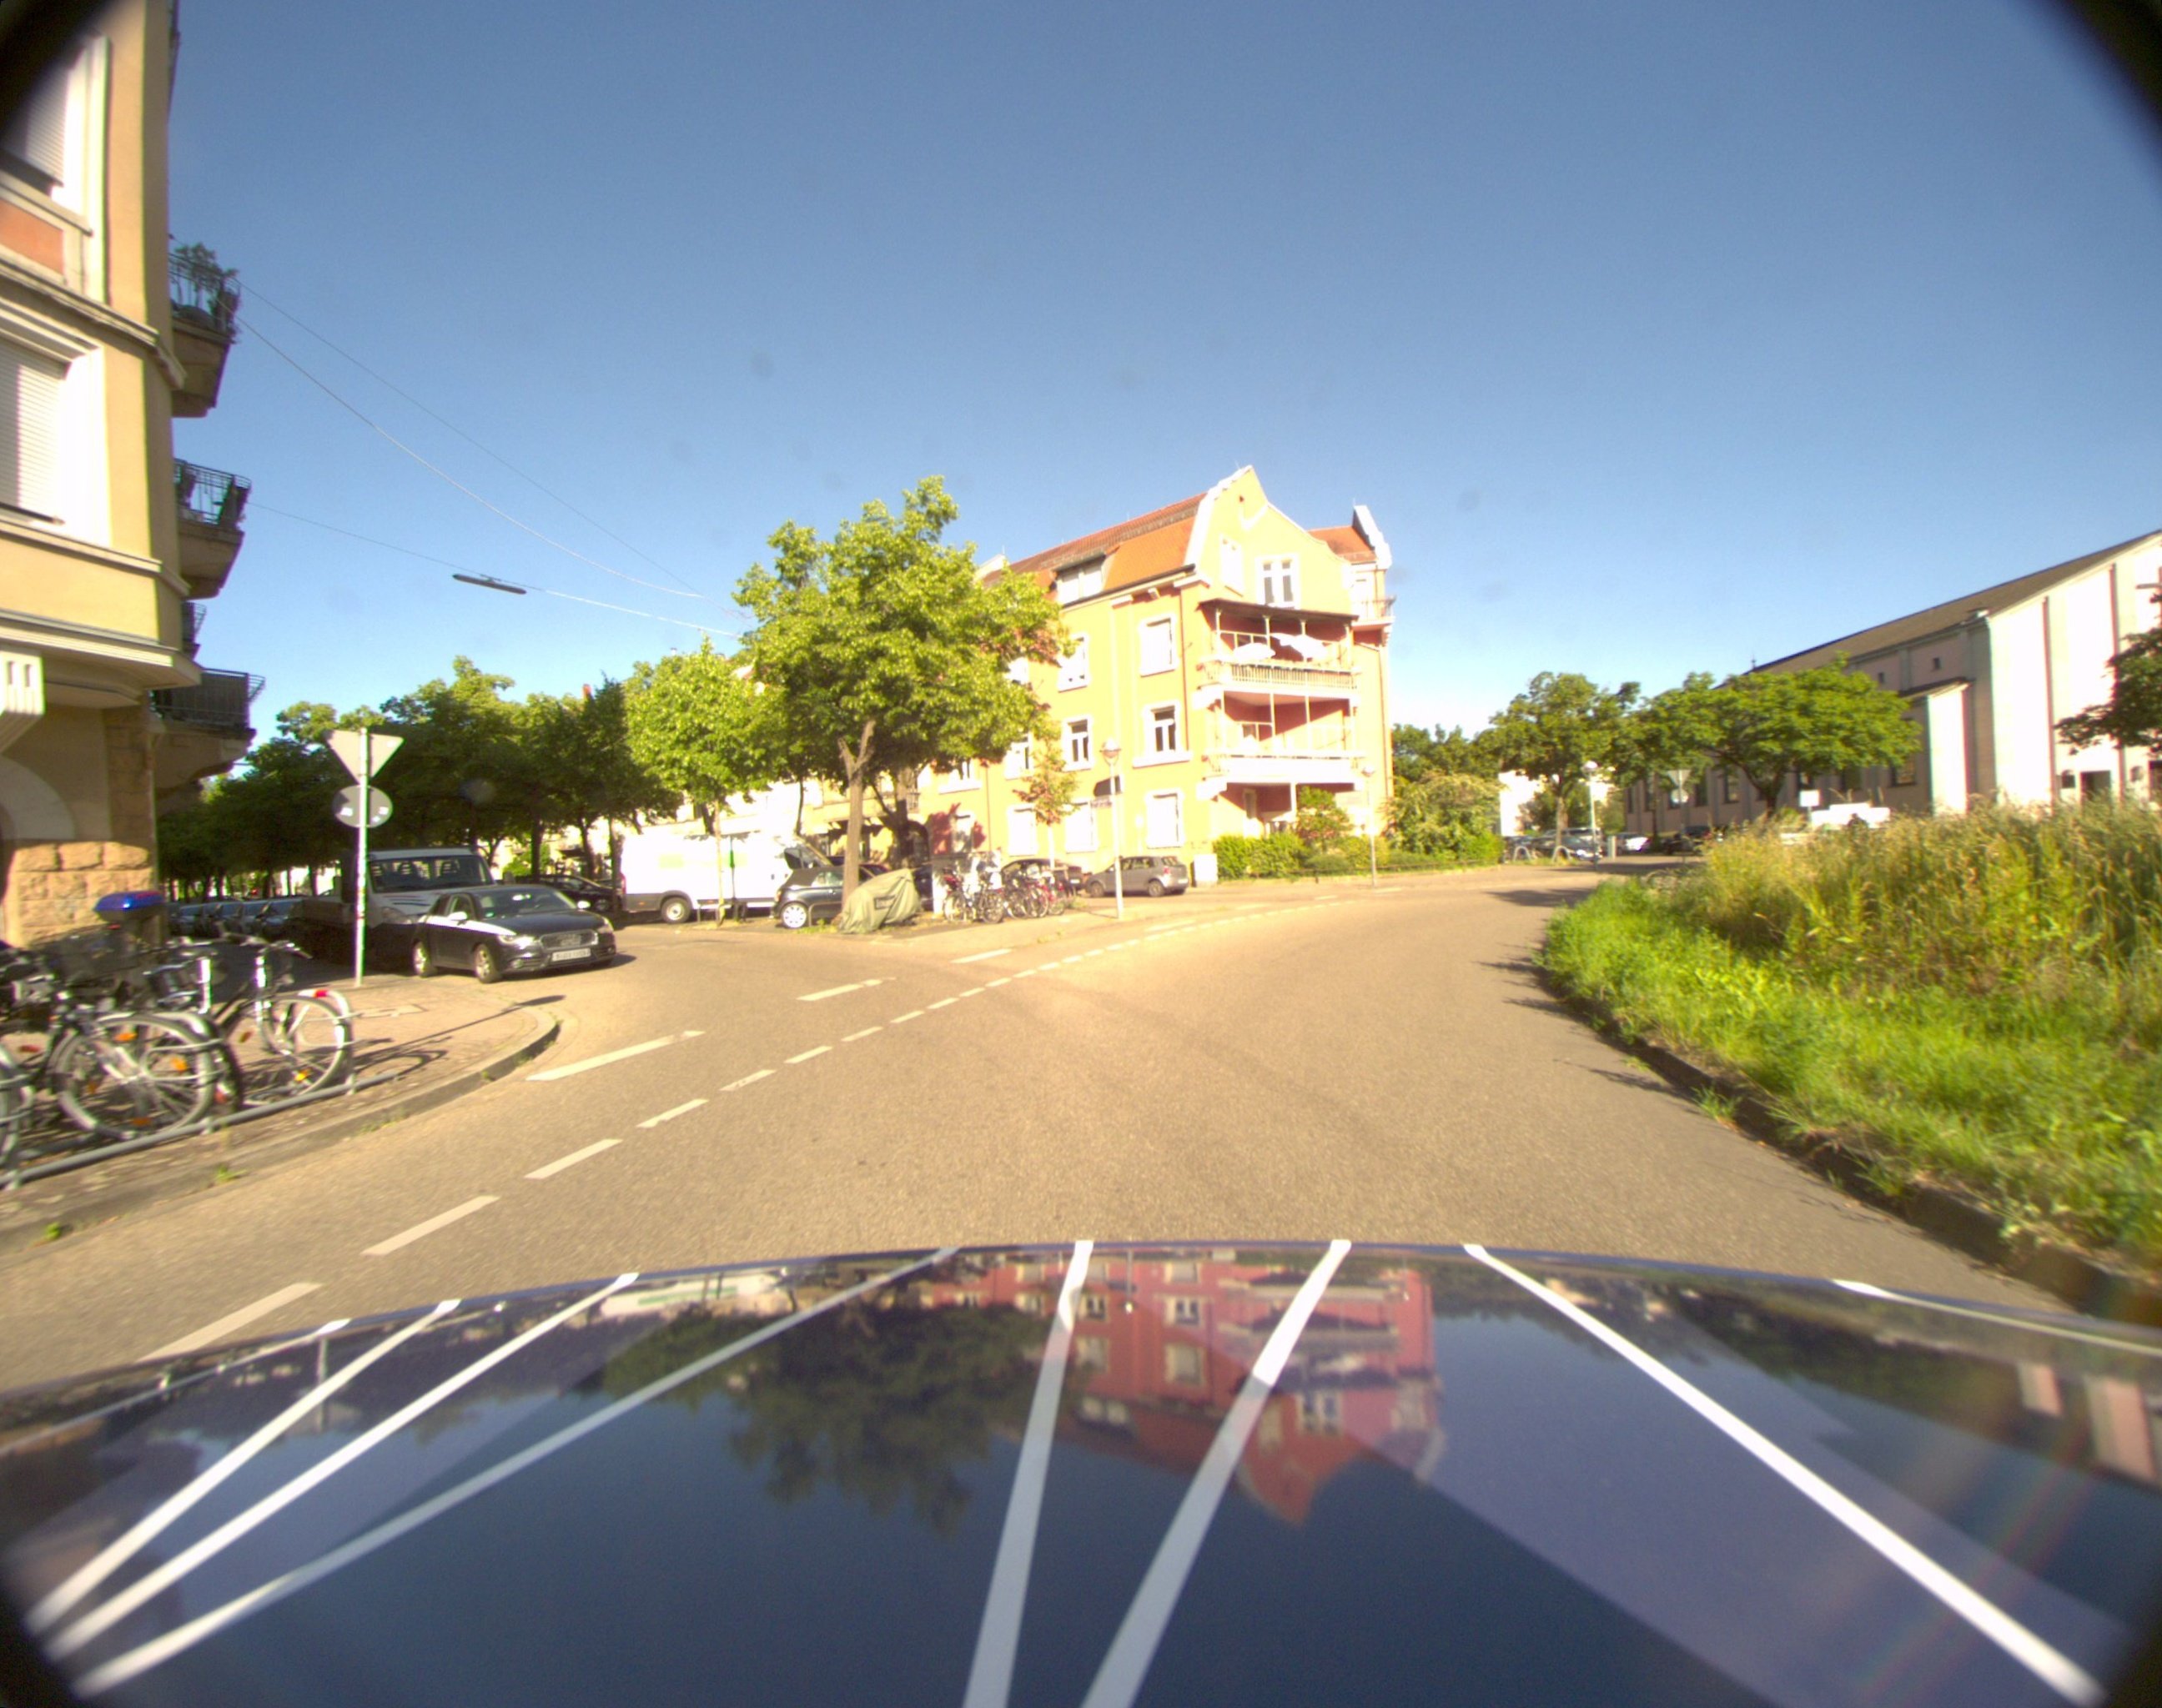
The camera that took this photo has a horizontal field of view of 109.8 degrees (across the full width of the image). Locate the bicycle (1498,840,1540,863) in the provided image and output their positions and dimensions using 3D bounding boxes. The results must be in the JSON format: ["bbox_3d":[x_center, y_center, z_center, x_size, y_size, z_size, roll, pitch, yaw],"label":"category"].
[{"bbox_3d":[22.169,-0.118,38.476,1.724,1.108,0.546,-1,1,10],"label":"bicycle"}]

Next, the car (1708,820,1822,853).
[{"bbox_3d":[32.640,-0.805,36.451,1.808,1.407,4.340,-2,0,5],"label":"car"}]

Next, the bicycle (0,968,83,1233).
[{"bbox_3d":[-5.675,1.151,3.419,1.694,1.139,0.617,-2,1,7],"label":"bicycle"}]

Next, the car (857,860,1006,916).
[{"bbox_3d":[-4.350,0.951,22.244,3.927,1.438,1.685,-1,-1,-28],"label":"car"}]

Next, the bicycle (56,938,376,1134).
[{"bbox_3d":[-5.561,1.148,4.905,1.716,1.117,0.483,-2,1,9],"label":"bicycle"}]

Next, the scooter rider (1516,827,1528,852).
[{"bbox_3d":[33.184,-1.090,57.180,0.624,1.821,0.632,-2,1,16],"label":"scooter rider"}]

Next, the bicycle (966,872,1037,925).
[{"bbox_3d":[-1.815,0.986,17.271,1.598,1.120,0.590,-1,2,38],"label":"bicycle"}]

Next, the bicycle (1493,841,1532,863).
[{"bbox_3d":[22.308,-0.125,39.304,1.829,1.101,0.500,-1,1,-6],"label":"bicycle"}]

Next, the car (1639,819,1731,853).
[{"bbox_3d":[33.040,-0.952,41.710,1.808,1.718,4.340,-2,0,5],"label":"car"}]

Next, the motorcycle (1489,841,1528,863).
[{"bbox_3d":[22.535,-0.102,40.047,1.725,1.101,0.501,-1,1,2],"label":"motorcycle"}]

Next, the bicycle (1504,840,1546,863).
[{"bbox_3d":[21.993,-0.131,37.626,1.724,1.108,0.546,-1,1,10],"label":"bicycle"}]

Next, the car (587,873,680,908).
[{"bbox_3d":[-20.988,1.698,35.775,3.385,1.461,1.686,-1,-1,-15],"label":"car"}]

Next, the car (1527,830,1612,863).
[{"bbox_3d":[25.353,-0.366,39.613,1.808,1.475,4.340,-5,0,4],"label":"car"}]

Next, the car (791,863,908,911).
[{"bbox_3d":[-7.844,1.087,25.862,3.390,1.438,1.684,-1,-1,-39],"label":"car"}]

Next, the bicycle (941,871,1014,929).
[{"bbox_3d":[-2.278,0.985,16.631,1.675,1.186,0.539,-1,2,38],"label":"bicycle"}]

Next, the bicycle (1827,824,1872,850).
[{"bbox_3d":[34.694,-0.773,34.318,0.645,1.101,1.719,-3,0,16],"label":"bicycle"}]

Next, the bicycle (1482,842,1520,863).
[{"bbox_3d":[22.470,-0.095,40.649,1.725,1.101,0.501,-1,1,2],"label":"bicycle"}]

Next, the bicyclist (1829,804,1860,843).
[{"bbox_3d":[34.726,-1.385,34.563,0.645,1.704,0.724,-3,0,16],"label":"bicyclist"}]

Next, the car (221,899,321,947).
[{"bbox_3d":[-28.119,2.345,26.350,3.912,1.382,1.691,-2,1,34],"label":"car"}]

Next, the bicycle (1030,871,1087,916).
[{"bbox_3d":[-0.581,0.989,19.342,1.522,1.080,0.420,-2,1,41],"label":"bicycle"}]

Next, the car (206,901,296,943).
[{"bbox_3d":[-32.113,2.594,29.384,3.912,1.382,1.691,-2,1,34],"label":"car"}]

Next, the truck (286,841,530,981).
[{"bbox_3d":[-13.786,1.046,15.374,6.603,2.279,2.143,-2,1,35],"label":"truck"}]

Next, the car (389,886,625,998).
[{"bbox_3d":[-9.087,1.282,11.959,3.912,1.382,1.691,-2,1,34],"label":"car"}]

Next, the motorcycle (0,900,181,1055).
[{"bbox_3d":[-10.512,1.201,7.389,0.699,1.402,2.252,-1,-1,7],"label":"motorcycle"}]

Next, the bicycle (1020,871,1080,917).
[{"bbox_3d":[-0.776,0.987,18.895,1.569,1.083,0.420,-2,1,40],"label":"bicycle"}]

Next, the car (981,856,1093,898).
[{"bbox_3d":[-1.772,0.928,29.867,4.283,1.553,1.692,-3,-1,37],"label":"car"}]

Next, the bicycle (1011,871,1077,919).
[{"bbox_3d":[-0.908,0.975,18.303,1.645,1.096,0.501,-2,2,40],"label":"bicycle"}]

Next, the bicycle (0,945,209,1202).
[{"bbox_3d":[-5.613,1.123,3.982,1.694,1.185,0.452,-2,1,7],"label":"bicycle"}]

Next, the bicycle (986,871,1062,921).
[{"bbox_3d":[-1.351,0.976,17.815,1.725,1.082,0.658,-2,1,38],"label":"bicycle"}]

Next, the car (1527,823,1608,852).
[{"bbox_3d":[36.656,-1.189,57.350,4.774,1.989,1.810,-2,0,5],"label":"car"}]

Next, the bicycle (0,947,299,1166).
[{"bbox_3d":[-5.584,1.150,4.412,1.694,1.117,0.483,-2,1,7],"label":"bicycle"}]

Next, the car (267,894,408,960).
[{"bbox_3d":[-18.836,1.792,19.218,3.912,1.382,1.691,-2,1,34],"label":"car"}]

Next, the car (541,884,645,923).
[{"bbox_3d":[-20.952,2.097,32.730,3.385,1.461,1.686,-1,-1,-15],"label":"car"}]

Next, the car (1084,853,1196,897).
[{"bbox_3d":[2.056,0.748,26.911,3.536,1.438,1.692,-3,-1,37],"label":"car"}]

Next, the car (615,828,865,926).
[{"bbox_3d":[-9.810,0.633,22.494,6.378,2.584,2.102,-2,-1,-12],"label":"car"}]

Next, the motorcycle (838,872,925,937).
[{"bbox_3d":[-4.141,1.023,15.895,0.537,1.263,1.715,-1,0,43],"label":"motorcycle"}]

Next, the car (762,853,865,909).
[{"bbox_3d":[-9.706,0.963,27.568,3.388,1.854,1.685,-1,-1,-24],"label":"car"}]

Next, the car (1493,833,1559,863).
[{"bbox_3d":[26.408,-0.360,45.294,1.807,1.552,4.402,-5,0,9],"label":"car"}]

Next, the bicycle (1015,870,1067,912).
[{"bbox_3d":[-1.100,1.000,20.742,1.522,1.080,0.420,-2,1,41],"label":"bicycle"}]

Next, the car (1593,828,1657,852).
[{"bbox_3d":[35.387,-0.895,49.552,1.807,1.465,4.343,-2,0,13],"label":"car"}]

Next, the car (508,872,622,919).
[{"bbox_3d":[-20.319,1.608,30.095,3.501,1.655,1.685,-1,-1,-27],"label":"car"}]

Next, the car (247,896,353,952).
[{"bbox_3d":[-23.342,2.019,22.675,3.991,1.382,1.691,-2,1,38],"label":"car"}]

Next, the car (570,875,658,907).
[{"bbox_3d":[-23.533,1.834,38.383,3.385,1.461,1.686,-1,-1,-15],"label":"car"}]
